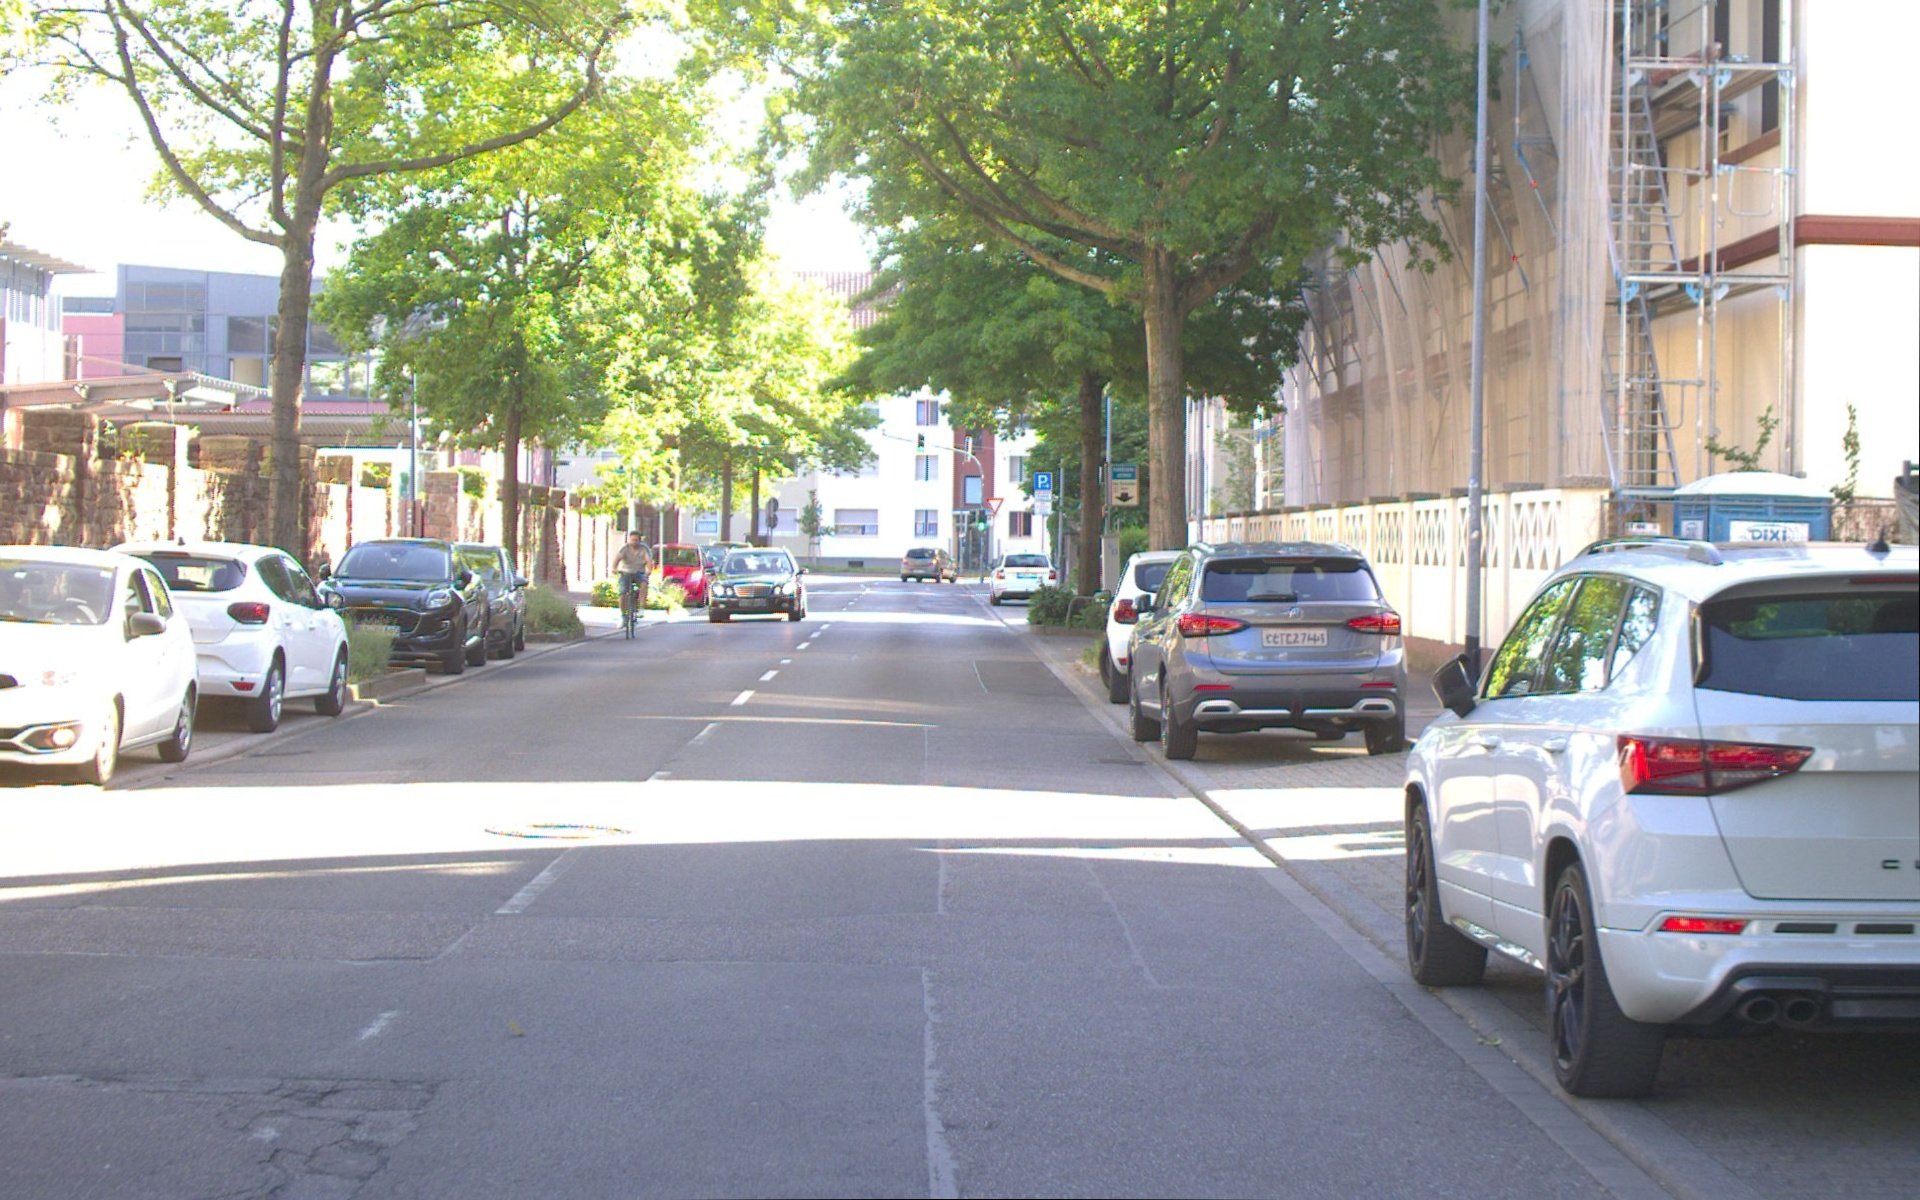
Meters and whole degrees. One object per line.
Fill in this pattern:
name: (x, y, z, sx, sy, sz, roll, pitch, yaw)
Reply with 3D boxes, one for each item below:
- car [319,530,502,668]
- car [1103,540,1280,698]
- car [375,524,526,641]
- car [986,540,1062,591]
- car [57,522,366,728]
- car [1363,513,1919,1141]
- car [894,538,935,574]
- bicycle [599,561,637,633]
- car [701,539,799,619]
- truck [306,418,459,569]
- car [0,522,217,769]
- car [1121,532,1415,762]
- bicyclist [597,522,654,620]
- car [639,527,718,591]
car: (-6.428, -0.051, 40.543, 1.573, 1.510, 4.045, 1, 1, -2)
car: (2.355, 0.153, 35.768, 1.724, 1.505, 3.992, 0, 1, 2)
car: (-6.729, -0.258, 45.713, 1.686, 1.417, 3.839, 3, 1, -5)
car: (1.687, -0.932, 92.077, 1.832, 1.318, 4.496, 0, 1, -1)
car: (-6.212, 0.157, 28.928, 1.676, 1.506, 3.850, 4, 1, 0)
car: (2.533, 0.566, 11.017, 1.792, 1.610, 4.127, 2, 1, -2)
car: (-1.929, -1.874, 145.467, 1.639, 1.438, 3.421, 3, 1, 0)
bicycle: (-5.457, -0.061, 54.969, 0.357, 1.117, 1.866, 3, 1, 0)
car: (-4.183, -0.453, 68.932, 1.821, 1.431, 3.970, 3, 1, -3)
truck: (-15.084, -2.744, 90.317, 2.732, 3.698, 7.429, 3, 1, -1)
car: (-6.105, 0.233, 22.731, 1.574, 1.397, 3.751, 4, 1, -2)
car: (2.328, 0.297, 27.021, 1.712, 1.632, 4.303, 1, 1, -3)
bicyclist: (-5.339, -0.470, 54.913, 0.721, 1.517, 1.005, 3, 1, 2)
car: (-6.906, -1.012, 84.519, 1.609, 1.454, 3.708, 3, 1, 0)
